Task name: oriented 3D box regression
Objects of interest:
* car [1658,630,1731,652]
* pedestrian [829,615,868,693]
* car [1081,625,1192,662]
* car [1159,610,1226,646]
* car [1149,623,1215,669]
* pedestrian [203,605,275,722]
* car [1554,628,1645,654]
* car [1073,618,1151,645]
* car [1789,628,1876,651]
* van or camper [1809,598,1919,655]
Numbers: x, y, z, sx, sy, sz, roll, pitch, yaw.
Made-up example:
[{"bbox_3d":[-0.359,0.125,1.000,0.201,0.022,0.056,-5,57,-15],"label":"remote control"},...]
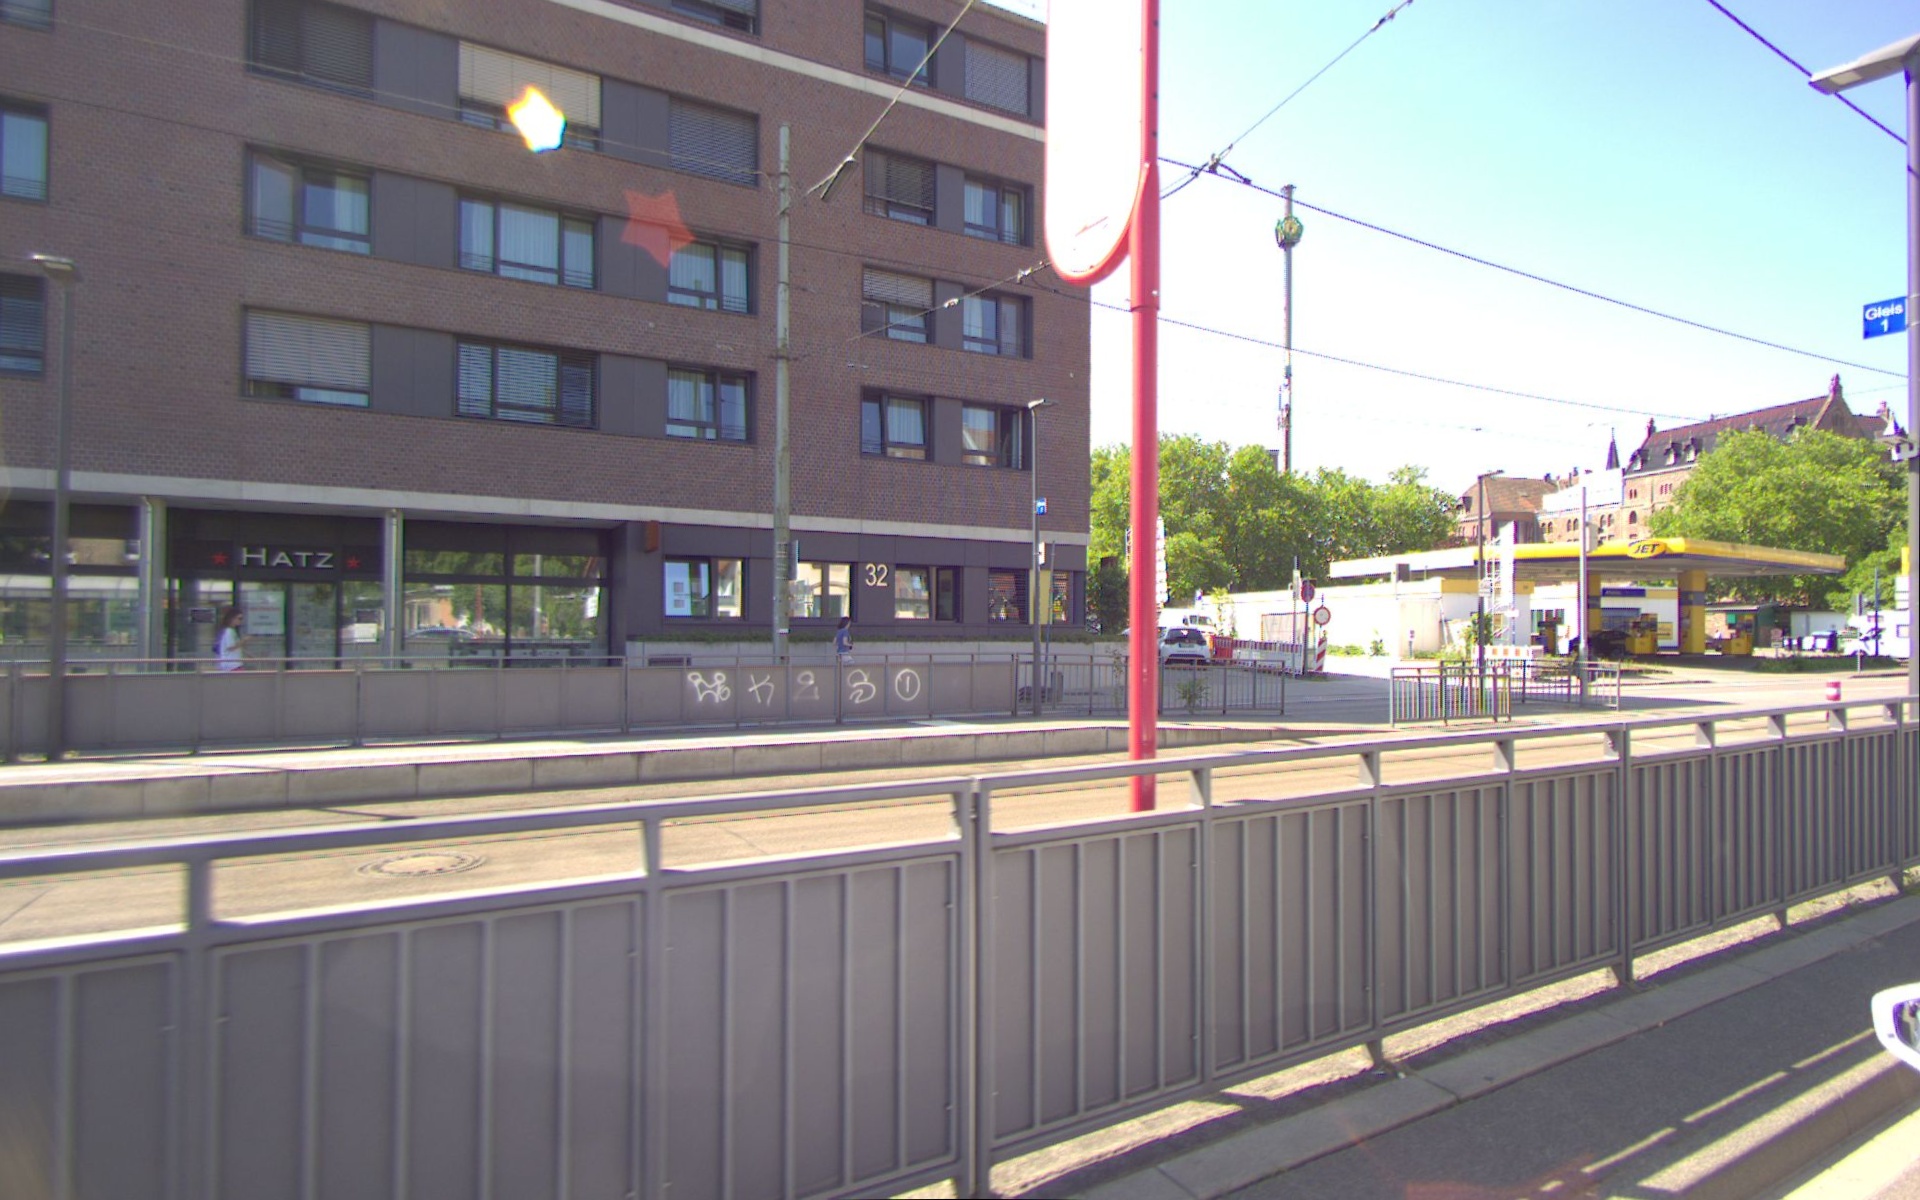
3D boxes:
[{"bbox_3d":[53.920,2.984,73.797,1.903,1.547,4.164,1,-1,-10],"label":"car"},{"bbox_3d":[-2.471,1.189,22.231,0.691,1.686,0.578,1,-2,-30],"label":"pedestrian"},{"bbox_3d":[7.040,1.732,40.143,3.989,1.384,1.863,1,-1,-15],"label":"car"},{"bbox_3d":[15.975,1.902,69.444,2.288,2.358,5.647,1,-1,-13],"label":"car"},{"bbox_3d":[7.997,1.640,36.487,1.766,1.442,4.001,1,0,4],"label":"car"},{"bbox_3d":[-11.832,1.022,16.518,0.828,1.843,0.841,1,-1,-28],"label":"pedestrian"},{"bbox_3d":[35.877,2.320,56.388,4.313,1.320,1.698,1,0,-12],"label":"car"},{"bbox_3d":[9.003,1.865,59.534,4.177,1.449,1.825,1,0,-17],"label":"car"},{"bbox_3d":[64.261,2.909,74.008,4.485,1.604,1.951,0,-1,9],"label":"car"},{"bbox_3d":[53.717,1.530,57.948,2.585,3.007,6.659,2,1,-29],"label":"van or camper"}]
